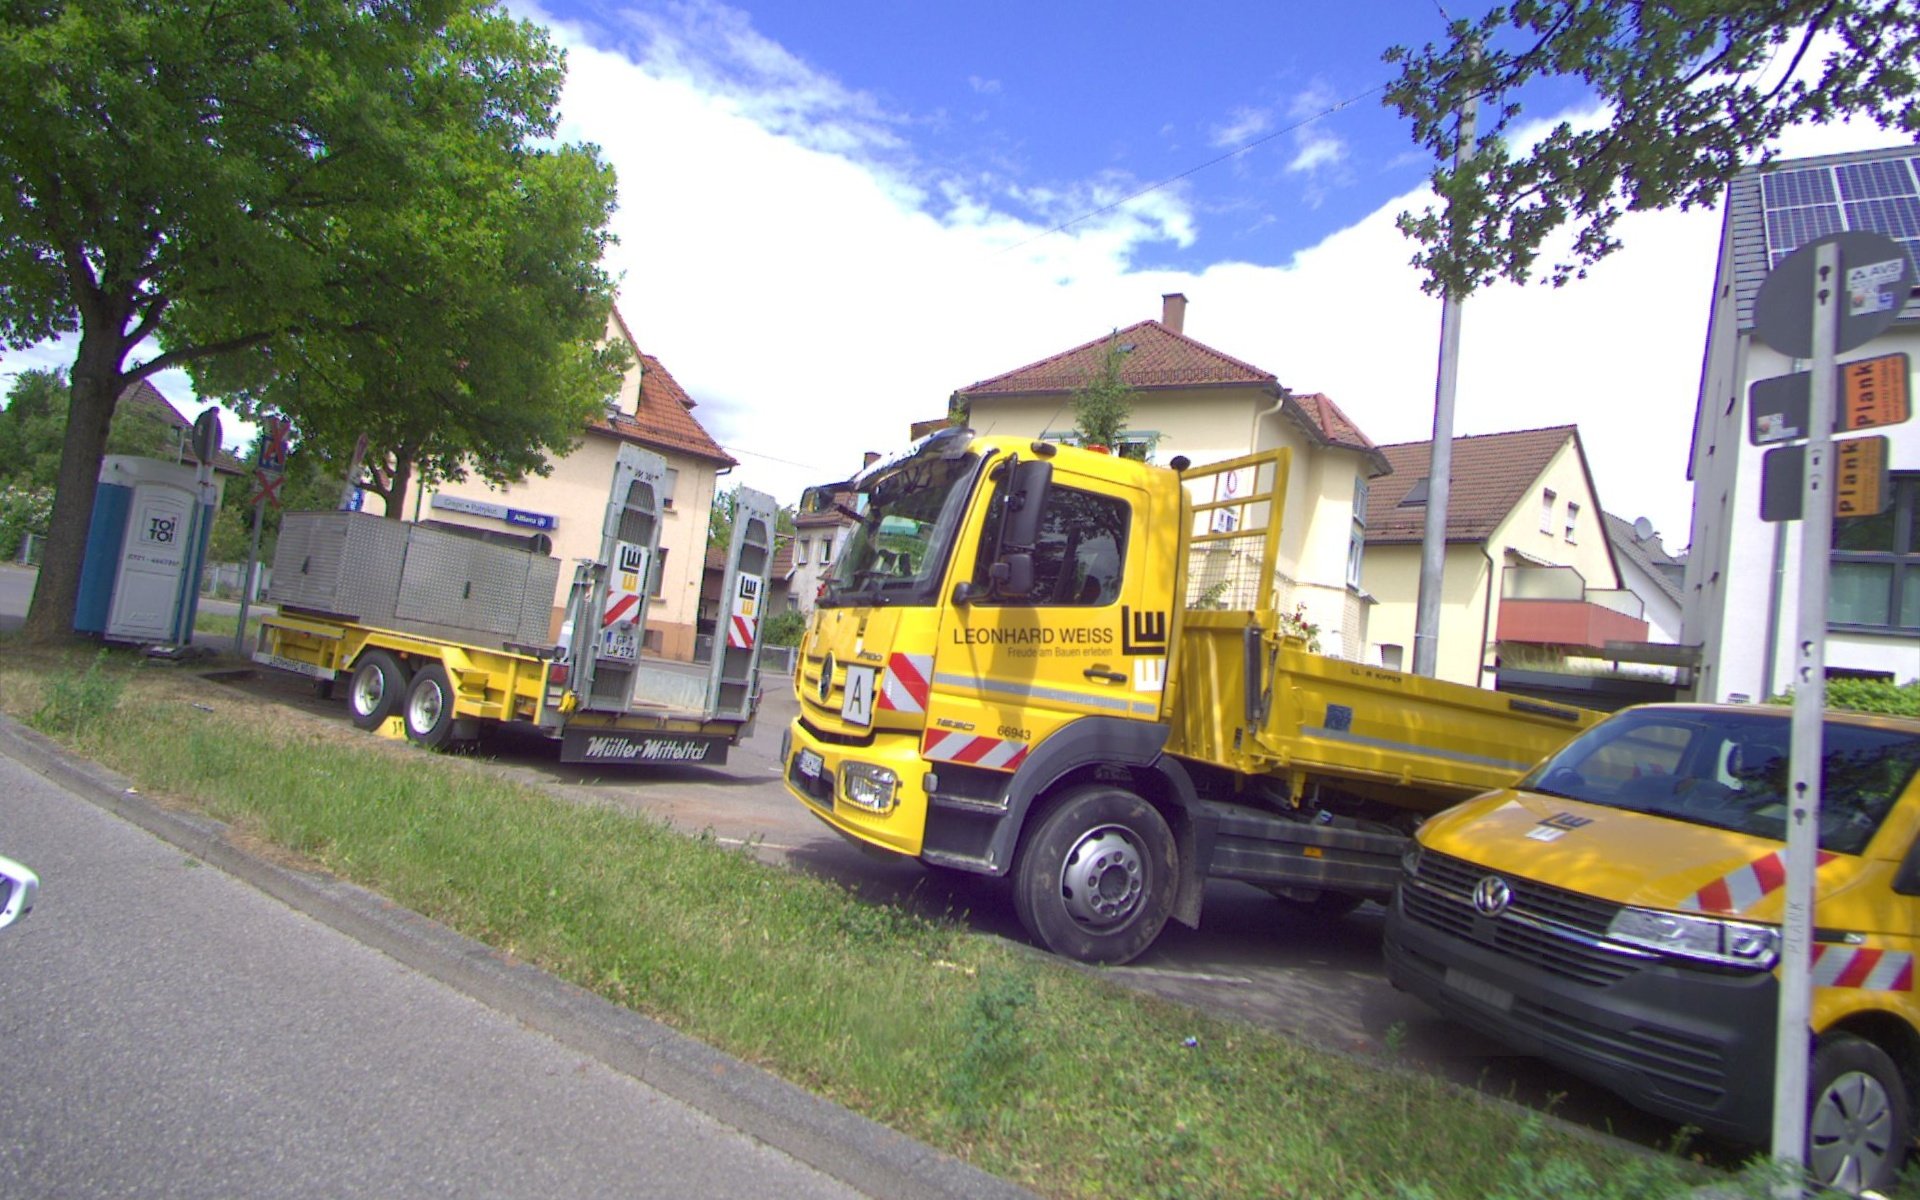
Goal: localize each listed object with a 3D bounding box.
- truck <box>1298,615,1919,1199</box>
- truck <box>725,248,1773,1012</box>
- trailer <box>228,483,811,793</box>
[{"bbox_3d":[4.881,1.606,4.974,5.876,2.034,1.994,11,-3,-18],"label":"truck"},{"bbox_3d":[2.116,0.616,6.926,6.555,3.231,2.331,12,-3,-23],"label":"truck"},{"bbox_3d":[-4.655,0.312,10.403,5.581,2.268,2.601,6,-5,33],"label":"trailer"}]
